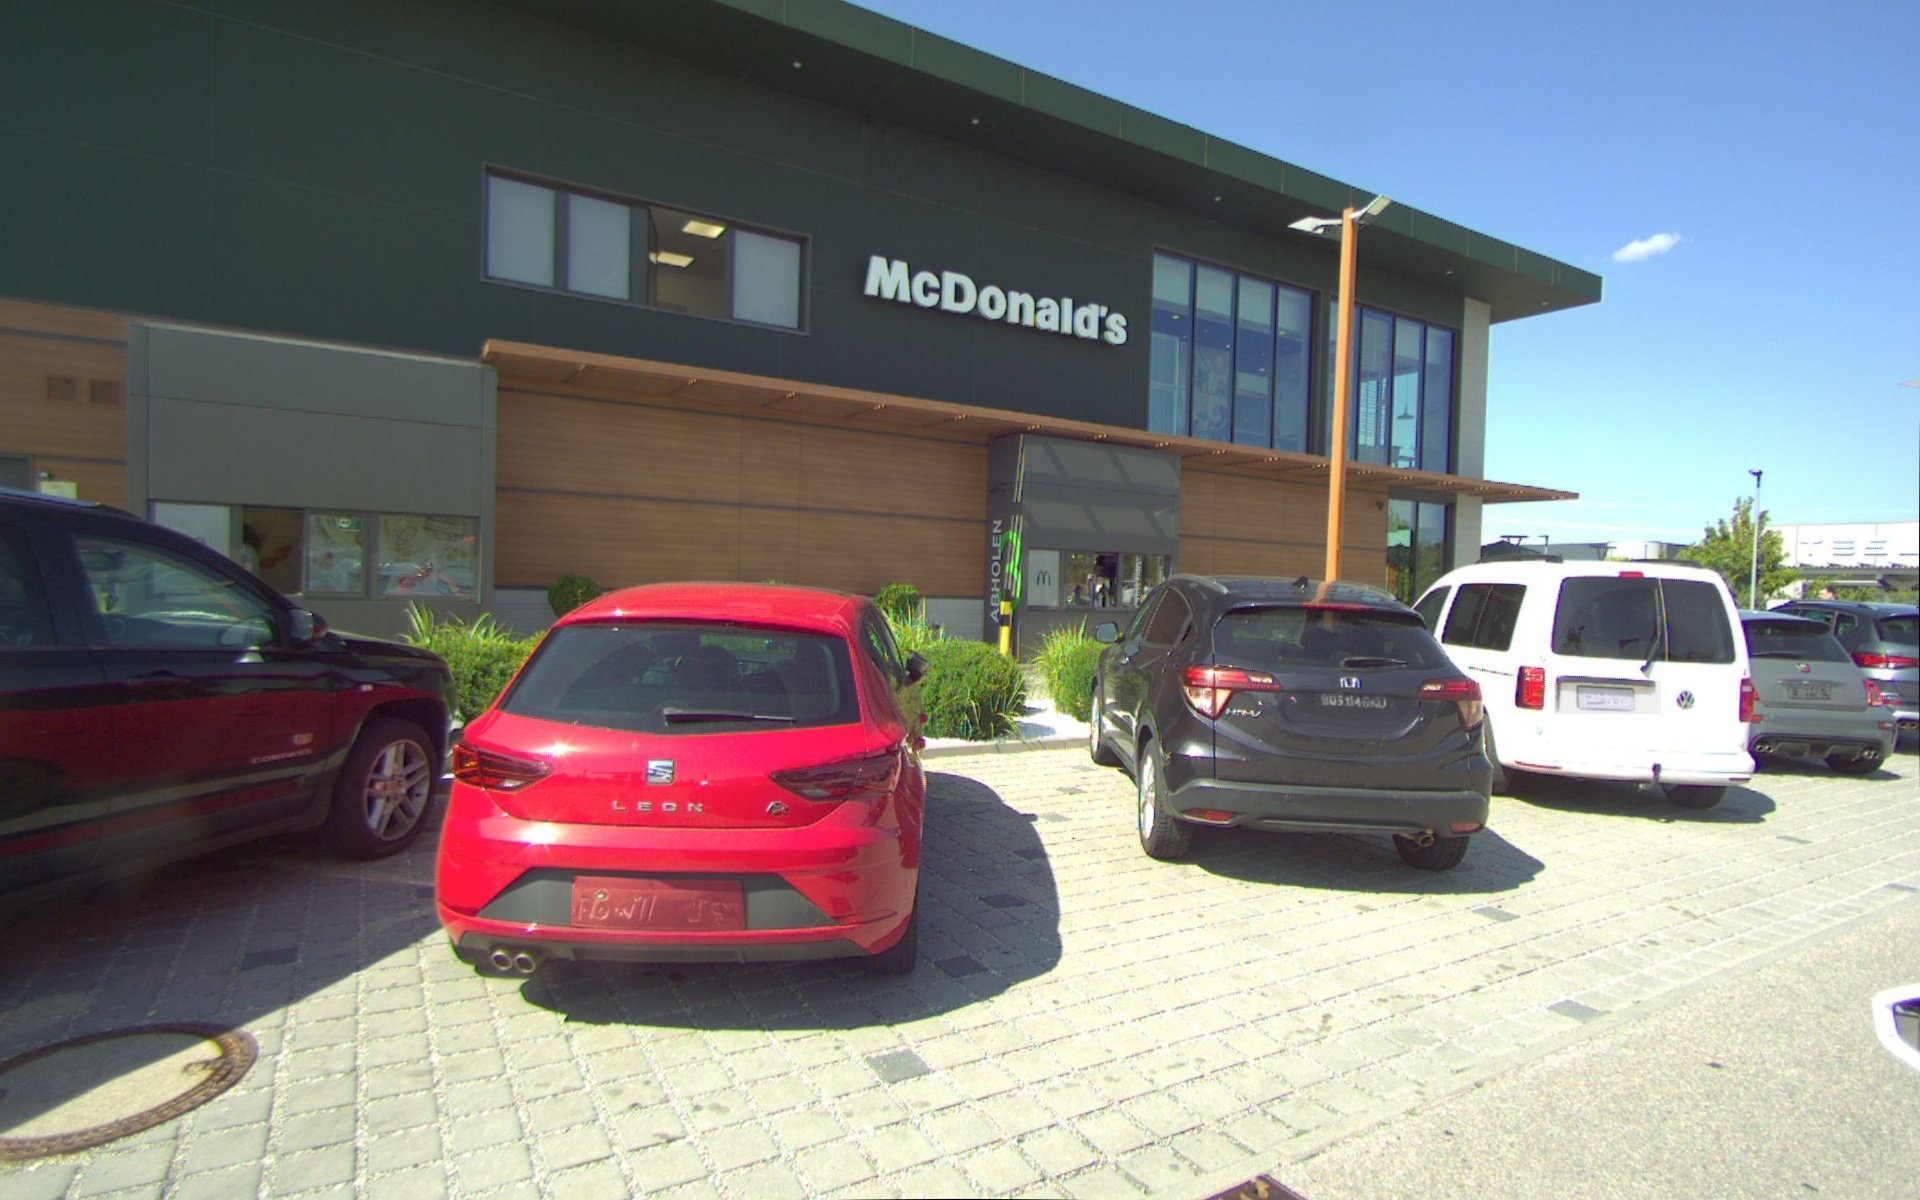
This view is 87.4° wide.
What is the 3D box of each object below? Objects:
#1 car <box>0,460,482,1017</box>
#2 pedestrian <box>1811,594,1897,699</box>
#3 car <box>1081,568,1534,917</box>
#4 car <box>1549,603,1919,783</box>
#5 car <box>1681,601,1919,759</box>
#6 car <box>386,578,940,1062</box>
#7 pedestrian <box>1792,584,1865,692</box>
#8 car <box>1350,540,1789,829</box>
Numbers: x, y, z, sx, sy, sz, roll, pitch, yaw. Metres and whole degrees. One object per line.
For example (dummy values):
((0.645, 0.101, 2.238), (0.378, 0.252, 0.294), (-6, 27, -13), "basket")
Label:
((-3.725, 0.403, 3.656), (1.641, 1.728, 4.041), (2, 1, 7), "car")
((14.099, 0.710, 15.851), (0.730, 1.605, 0.725), (1, 1, -21), "pedestrian")
((1.904, 0.633, 6.784), (1.723, 1.654, 3.844), (1, 2, 1), "car")
((7.840, 0.826, 10.603), (1.536, 1.502, 3.417), (1, 1, 7), "car")
((10.861, 0.845, 12.317), (1.754, 1.624, 4.229), (1, 0, 13), "car")
((-0.978, 0.650, 4.946), (1.642, 1.463, 3.771), (1, 1, -3), "car")
((15.083, 0.637, 17.437), (0.889, 1.792, 0.794), (0, 1, -40), "pedestrian")
((5.005, 0.571, 9.025), (1.722, 1.947, 4.147), (1, 0, 6), "car")
